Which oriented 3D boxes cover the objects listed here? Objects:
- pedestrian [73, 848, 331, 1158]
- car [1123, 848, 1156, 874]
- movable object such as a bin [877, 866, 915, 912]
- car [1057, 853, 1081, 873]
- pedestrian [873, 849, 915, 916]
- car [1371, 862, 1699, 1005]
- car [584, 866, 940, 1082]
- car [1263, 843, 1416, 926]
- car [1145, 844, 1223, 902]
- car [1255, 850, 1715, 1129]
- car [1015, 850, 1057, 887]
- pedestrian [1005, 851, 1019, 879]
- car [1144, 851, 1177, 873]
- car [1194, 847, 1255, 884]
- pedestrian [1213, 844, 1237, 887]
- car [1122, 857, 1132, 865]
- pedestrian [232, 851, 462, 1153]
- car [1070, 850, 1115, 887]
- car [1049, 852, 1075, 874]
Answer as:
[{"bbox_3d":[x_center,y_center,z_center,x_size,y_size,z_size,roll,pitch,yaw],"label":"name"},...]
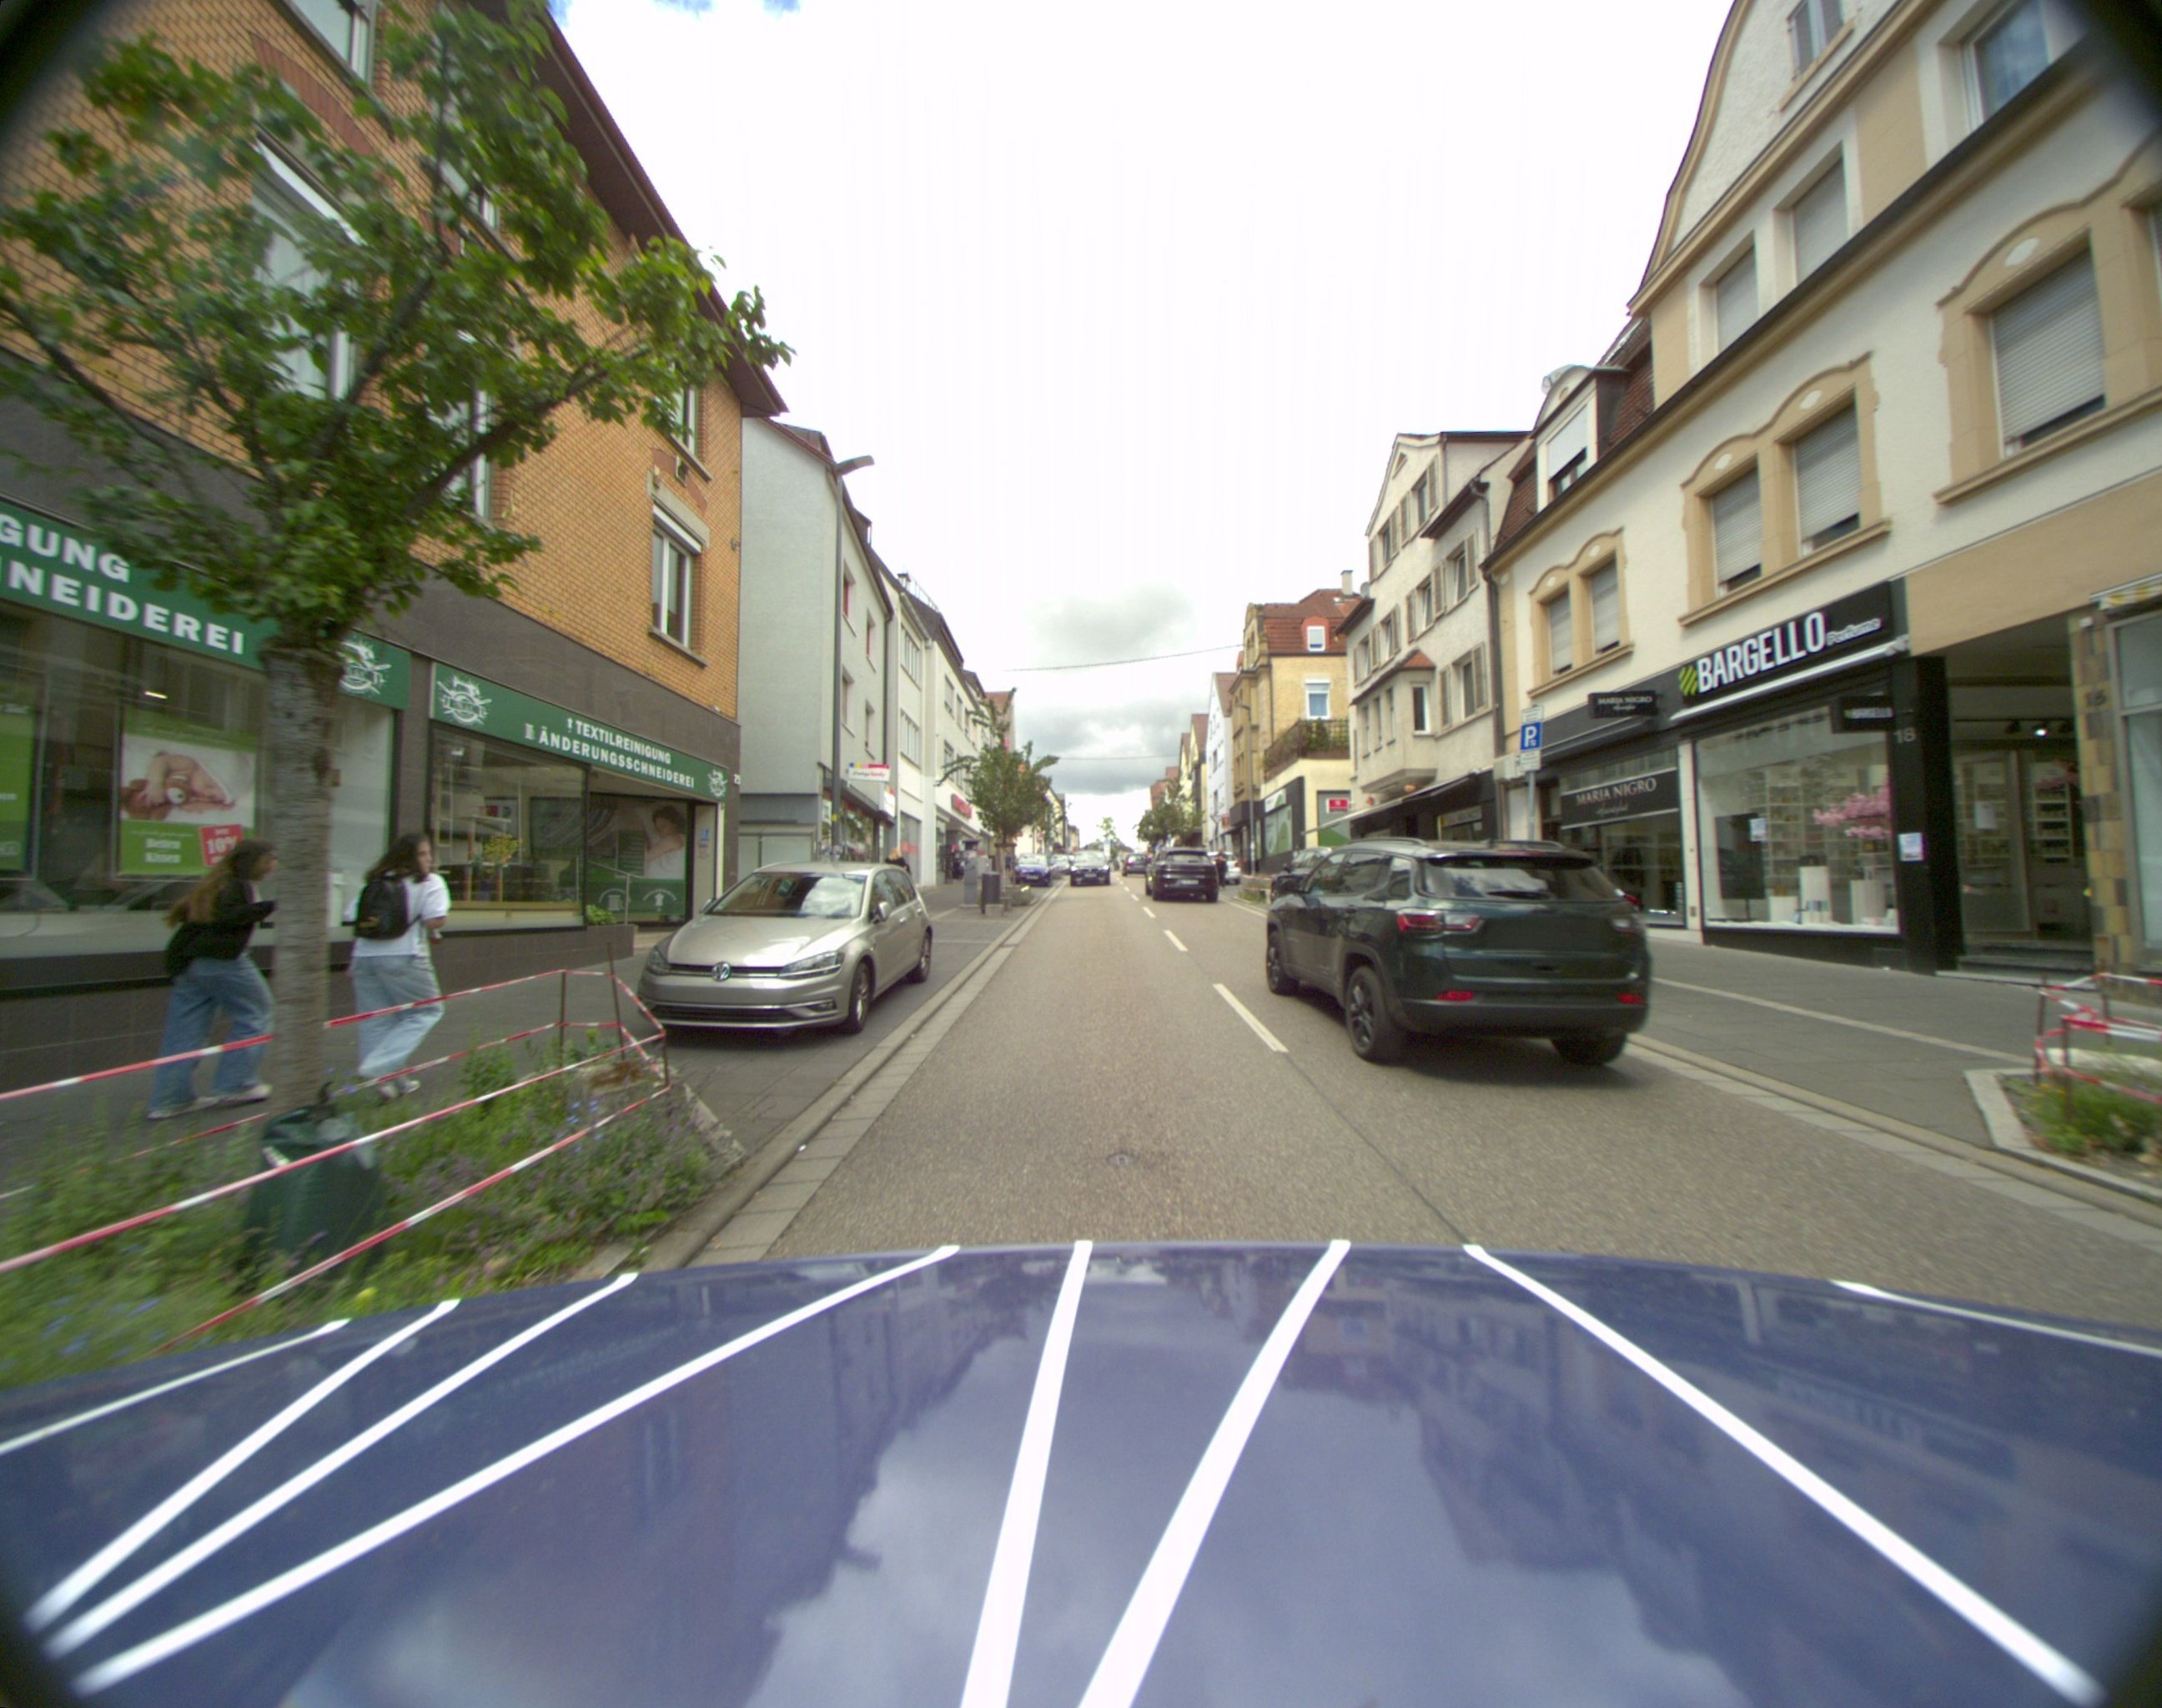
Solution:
[{"bbox_3d":[-4.946,0.786,4.325,0.673,1.623,0.670,1,1,-1],"label":"pedestrian"},{"bbox_3d":[3.798,0.425,49.737,1.823,1.608,4.135,1,0,1],"label":"car"},{"bbox_3d":[-4.796,0.897,19.726,0.723,1.151,0.907,1,0,0],"label":"movable object such as a bin"},{"bbox_3d":[-1.148,0.890,74.853,1.881,1.789,4.734,-1,-1,5],"label":"car"},{"bbox_3d":[-4.617,0.689,18.822,0.737,1.576,1.000,2,1,0],"label":"pedestrian"},{"bbox_3d":[5.590,0.863,10.137,1.931,1.422,4.262,-2,0,2],"label":"car"},{"bbox_3d":[-2.727,0.914,7.625,1.752,1.457,4.074,2,0,1],"label":"car"},{"bbox_3d":[5.749,0.604,17.602,1.931,1.612,4.639,-2,0,0],"label":"car"},{"bbox_3d":[3.208,0.550,24.584,1.997,1.708,4.447,1,0,1],"label":"car"},{"bbox_3d":[2.844,0.800,6.499,1.769,1.608,4.032,1,0,0],"label":"car"},{"bbox_3d":[-2.071,0.622,34.896,1.753,1.489,3.798,2,1,-4],"label":"car"},{"bbox_3d":[-3.924,0.611,43.127,0.758,1.551,0.817,0,0,-2],"label":"pedestrian"},{"bbox_3d":[5.977,0.604,57.662,1.931,1.483,4.843,-3,-1,0],"label":"car"},{"bbox_3d":[6.521,0.524,34.956,1.931,1.502,4.262,-3,-1,0],"label":"car"},{"bbox_3d":[5.655,0.463,29.939,0.739,1.662,0.863,-1,0,-1],"label":"pedestrian"},{"bbox_3d":[9.650,1.524,159.775,1.968,1.611,4.356,-2,0,4],"label":"car"},{"bbox_3d":[-4.242,0.802,4.442,0.673,1.623,0.670,1,1,-1],"label":"pedestrian"},{"bbox_3d":[0.477,0.625,34.799,1.914,1.560,4.372,-1,0,0],"label":"car"},{"bbox_3d":[-1.392,0.694,58.039,1.752,1.598,3.801,1,-1,2],"label":"car"}]
